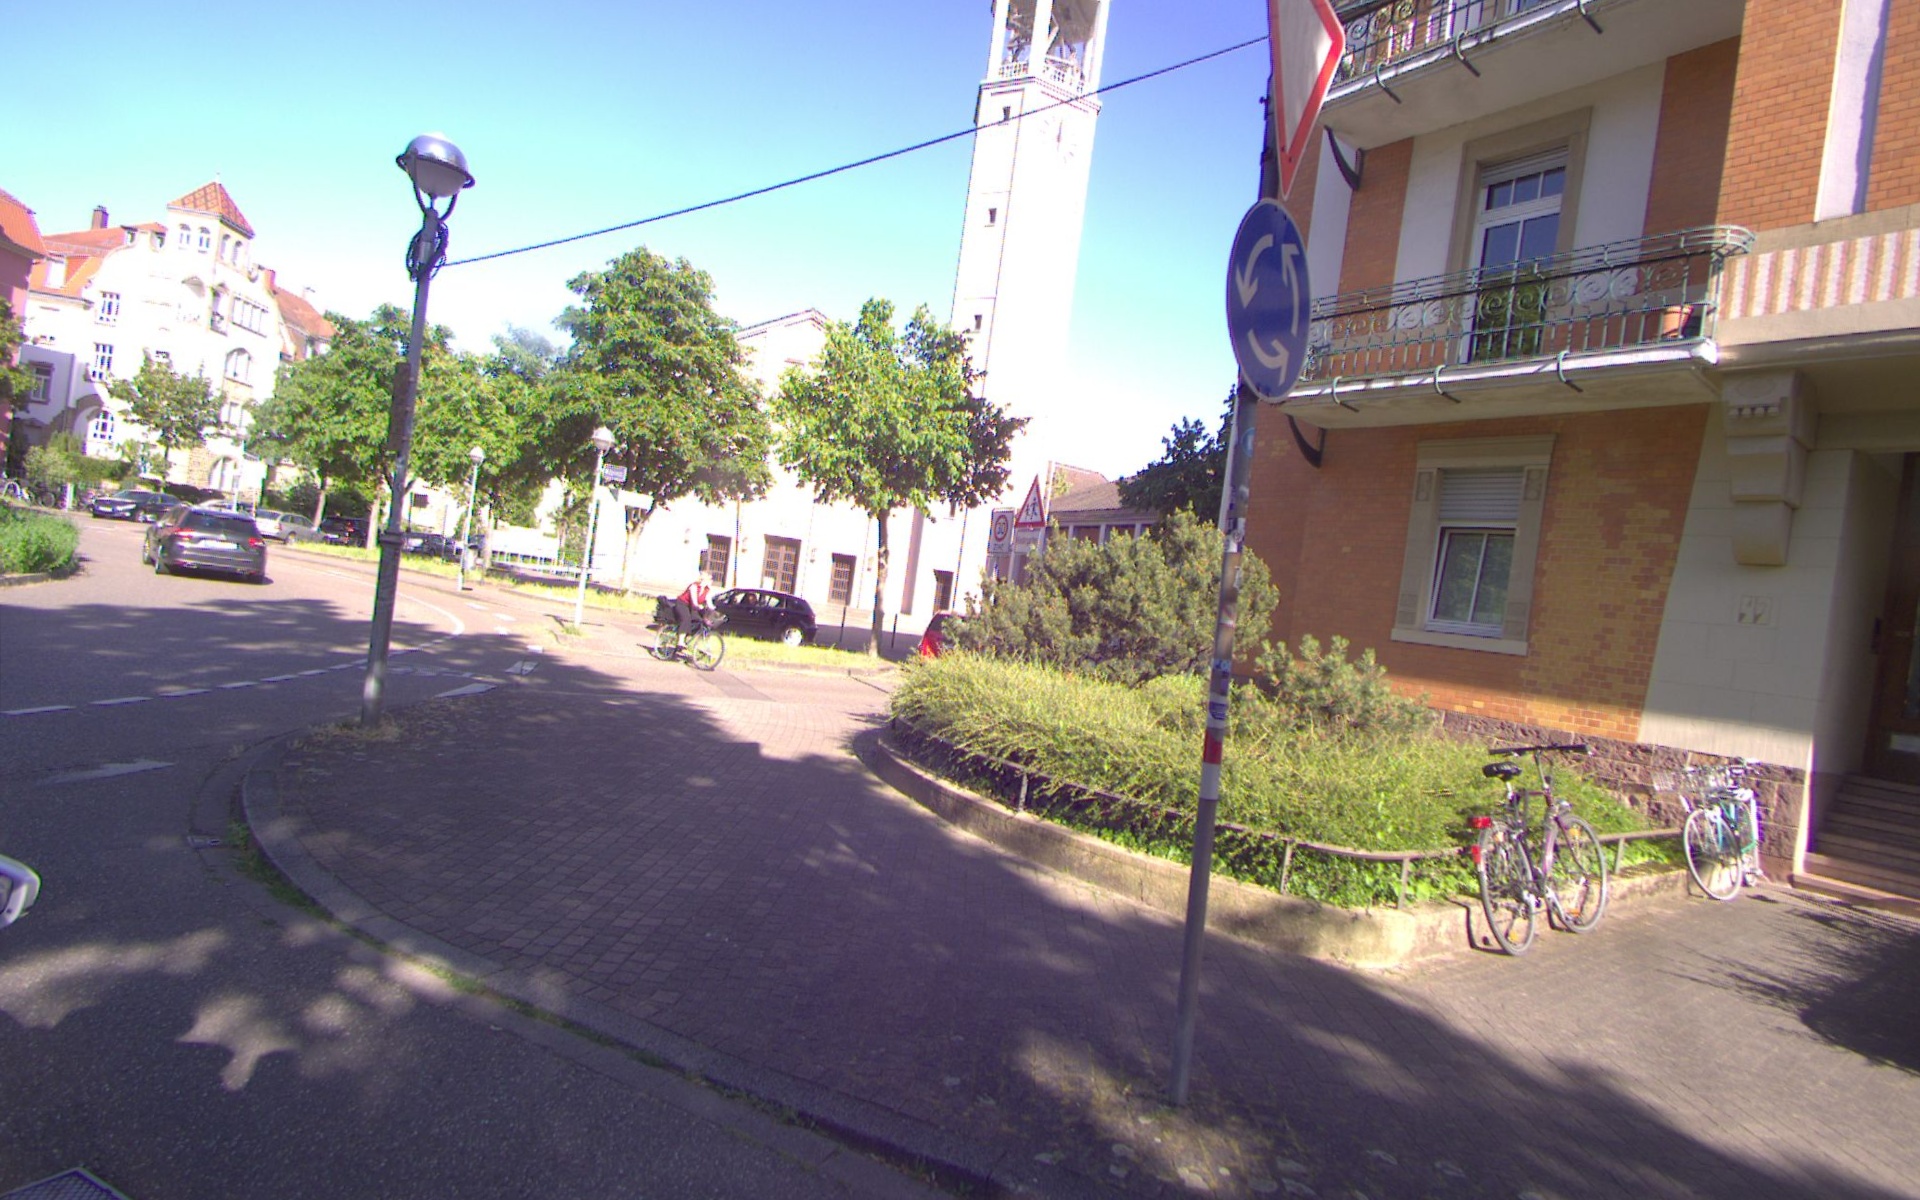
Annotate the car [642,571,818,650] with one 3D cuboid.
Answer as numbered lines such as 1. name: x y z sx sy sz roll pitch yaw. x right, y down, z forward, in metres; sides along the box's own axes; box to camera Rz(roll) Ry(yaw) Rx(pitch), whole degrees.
1. car: -5.844 0.281 25.633 3.957 1.404 1.728 9 0 -29

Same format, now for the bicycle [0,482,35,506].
1. bicycle: -40.680 -4.569 43.042 1.990 0.810 0.479 8 0 12

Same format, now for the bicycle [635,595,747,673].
1. bicycle: -4.536 0.572 16.940 1.842 1.049 0.508 8 0 27

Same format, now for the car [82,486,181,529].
1. car: -37.570 -4.163 45.725 1.730 1.385 3.638 8 0 -9

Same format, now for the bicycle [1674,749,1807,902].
1. bicycle: 6.340 1.796 8.139 1.671 1.073 0.384 8 0 -39

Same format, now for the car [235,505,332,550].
1. car: -29.644 -3.141 44.207 1.532 1.473 3.975 8 0 -2

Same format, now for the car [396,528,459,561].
1. car: -30.319 -3.127 57.416 1.630 1.454 3.457 8 0 -1

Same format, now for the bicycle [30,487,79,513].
1. bicycle: -40.823 -4.510 45.342 2.243 0.832 0.479 8 0 17

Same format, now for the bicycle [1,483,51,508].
1. bicycle: -40.543 -4.530 43.655 2.243 0.810 0.479 8 0 17

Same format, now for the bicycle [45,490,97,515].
1. bicycle: -40.680 -4.451 46.024 2.243 0.795 0.626 8 0 17

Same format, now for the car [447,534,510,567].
1. car: -27.509 -2.803 57.638 1.764 1.473 3.782 8 0 -2

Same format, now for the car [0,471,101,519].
1. car: -36.851 -4.229 40.399 1.729 1.385 3.640 8 0 -6

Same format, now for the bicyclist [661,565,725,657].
1. bicyclist: -4.492 0.188 16.942 0.729 1.434 0.510 8 1 29

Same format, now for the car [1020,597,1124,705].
1. car: 2.636 1.138 23.514 1.962 2.038 4.002 8 0 7

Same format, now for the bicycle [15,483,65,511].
1. bicycle: -40.502 -4.525 44.296 2.243 0.925 0.479 8 0 17

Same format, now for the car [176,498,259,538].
1. car: -37.768 -4.125 51.254 1.641 1.506 3.474 8 0 -4

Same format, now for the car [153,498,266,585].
1. car: -16.305 -1.319 21.879 1.706 1.501 4.101 8 0 -37

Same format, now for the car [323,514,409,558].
1. car: -26.321 -2.795 44.707 1.532 1.473 3.736 8 0 -2

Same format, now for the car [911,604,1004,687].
1. car: 0.022 0.986 22.569 1.543 1.490 3.516 8 0 6

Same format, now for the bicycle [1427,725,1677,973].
1. bicycle: 3.494 1.382 5.821 2.213 1.173 0.384 8 0 -39
